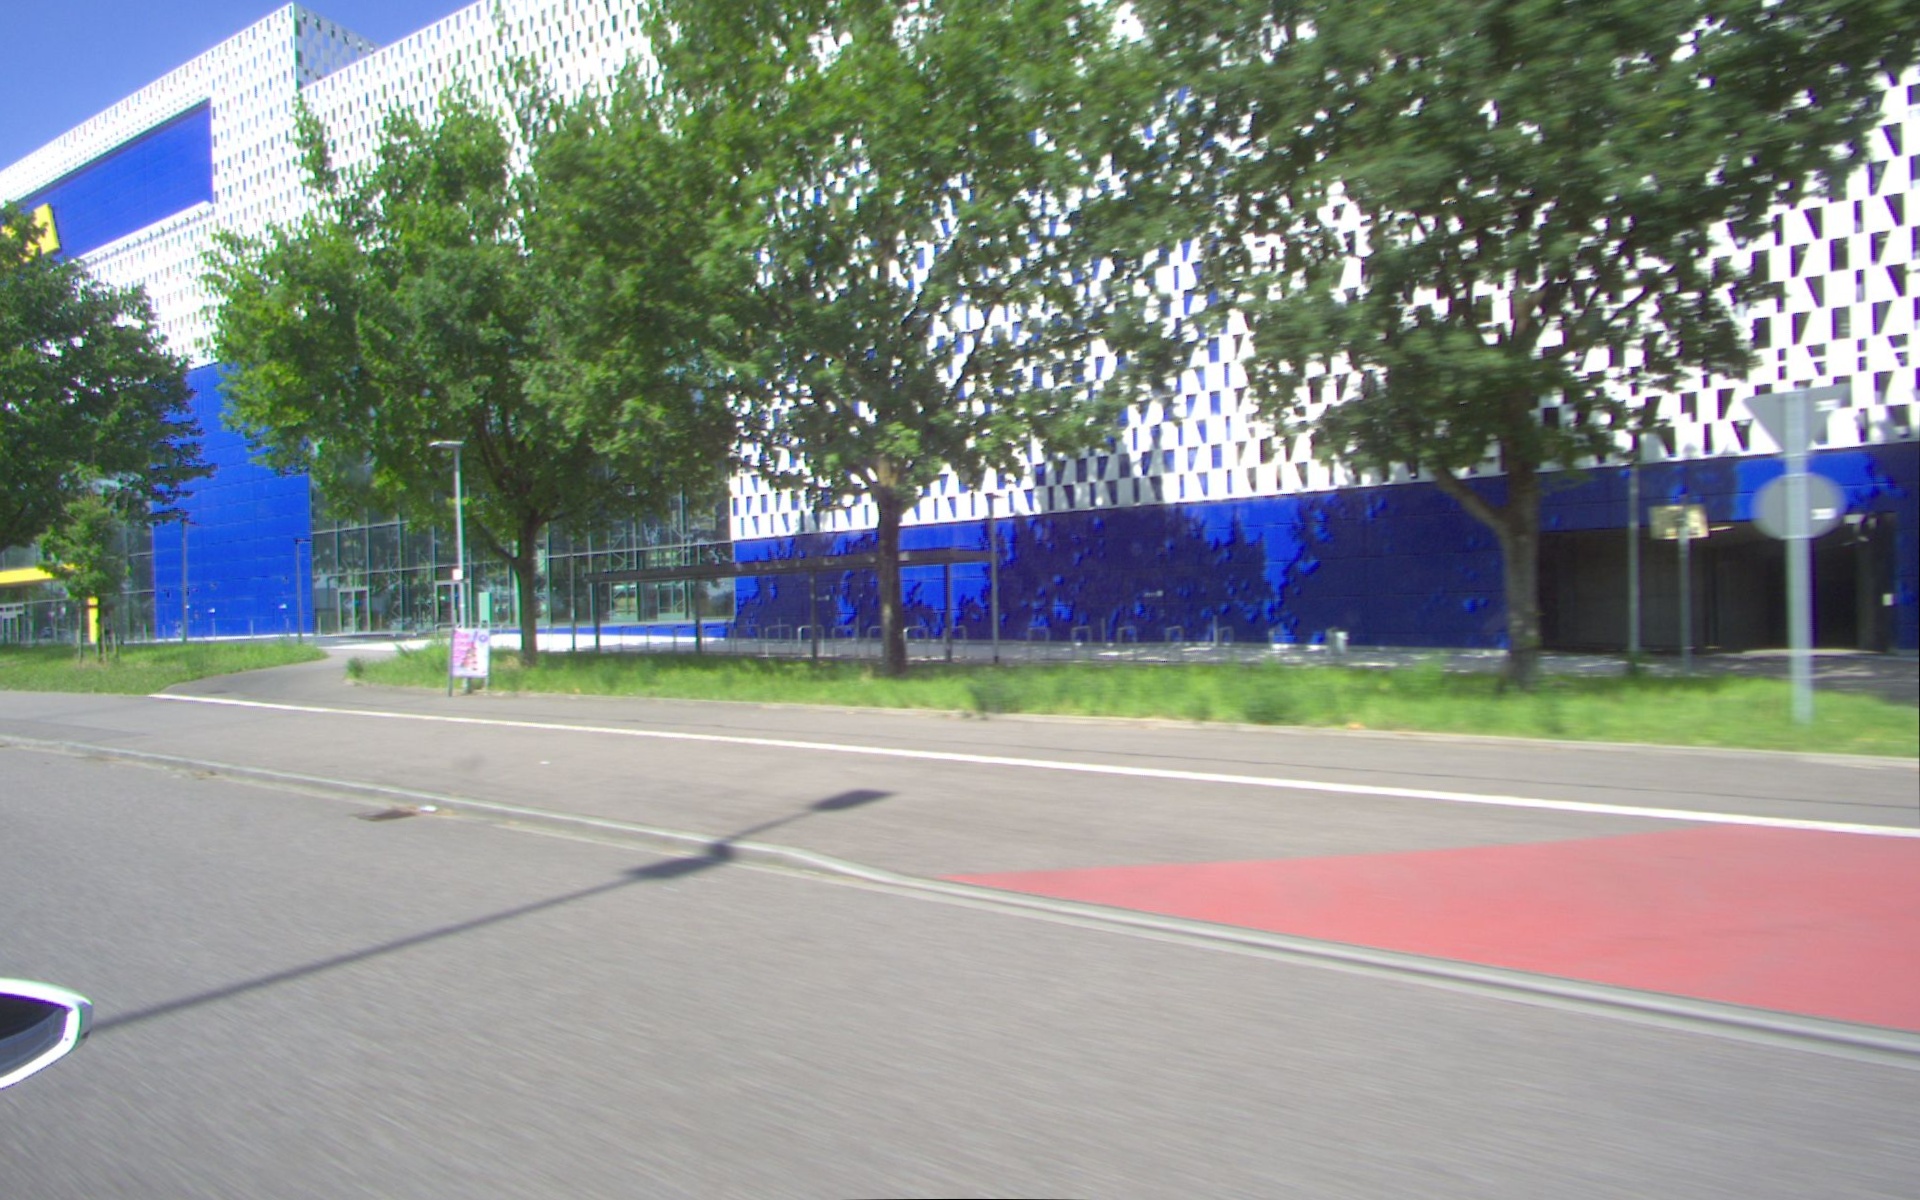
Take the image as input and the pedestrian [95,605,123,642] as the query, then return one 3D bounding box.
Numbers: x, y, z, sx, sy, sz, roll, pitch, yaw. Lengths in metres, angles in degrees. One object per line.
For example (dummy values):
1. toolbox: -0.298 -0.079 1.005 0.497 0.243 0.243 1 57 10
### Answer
1. pedestrian: -38.354 1.062 45.118 0.759 1.633 0.687 0 1 27
